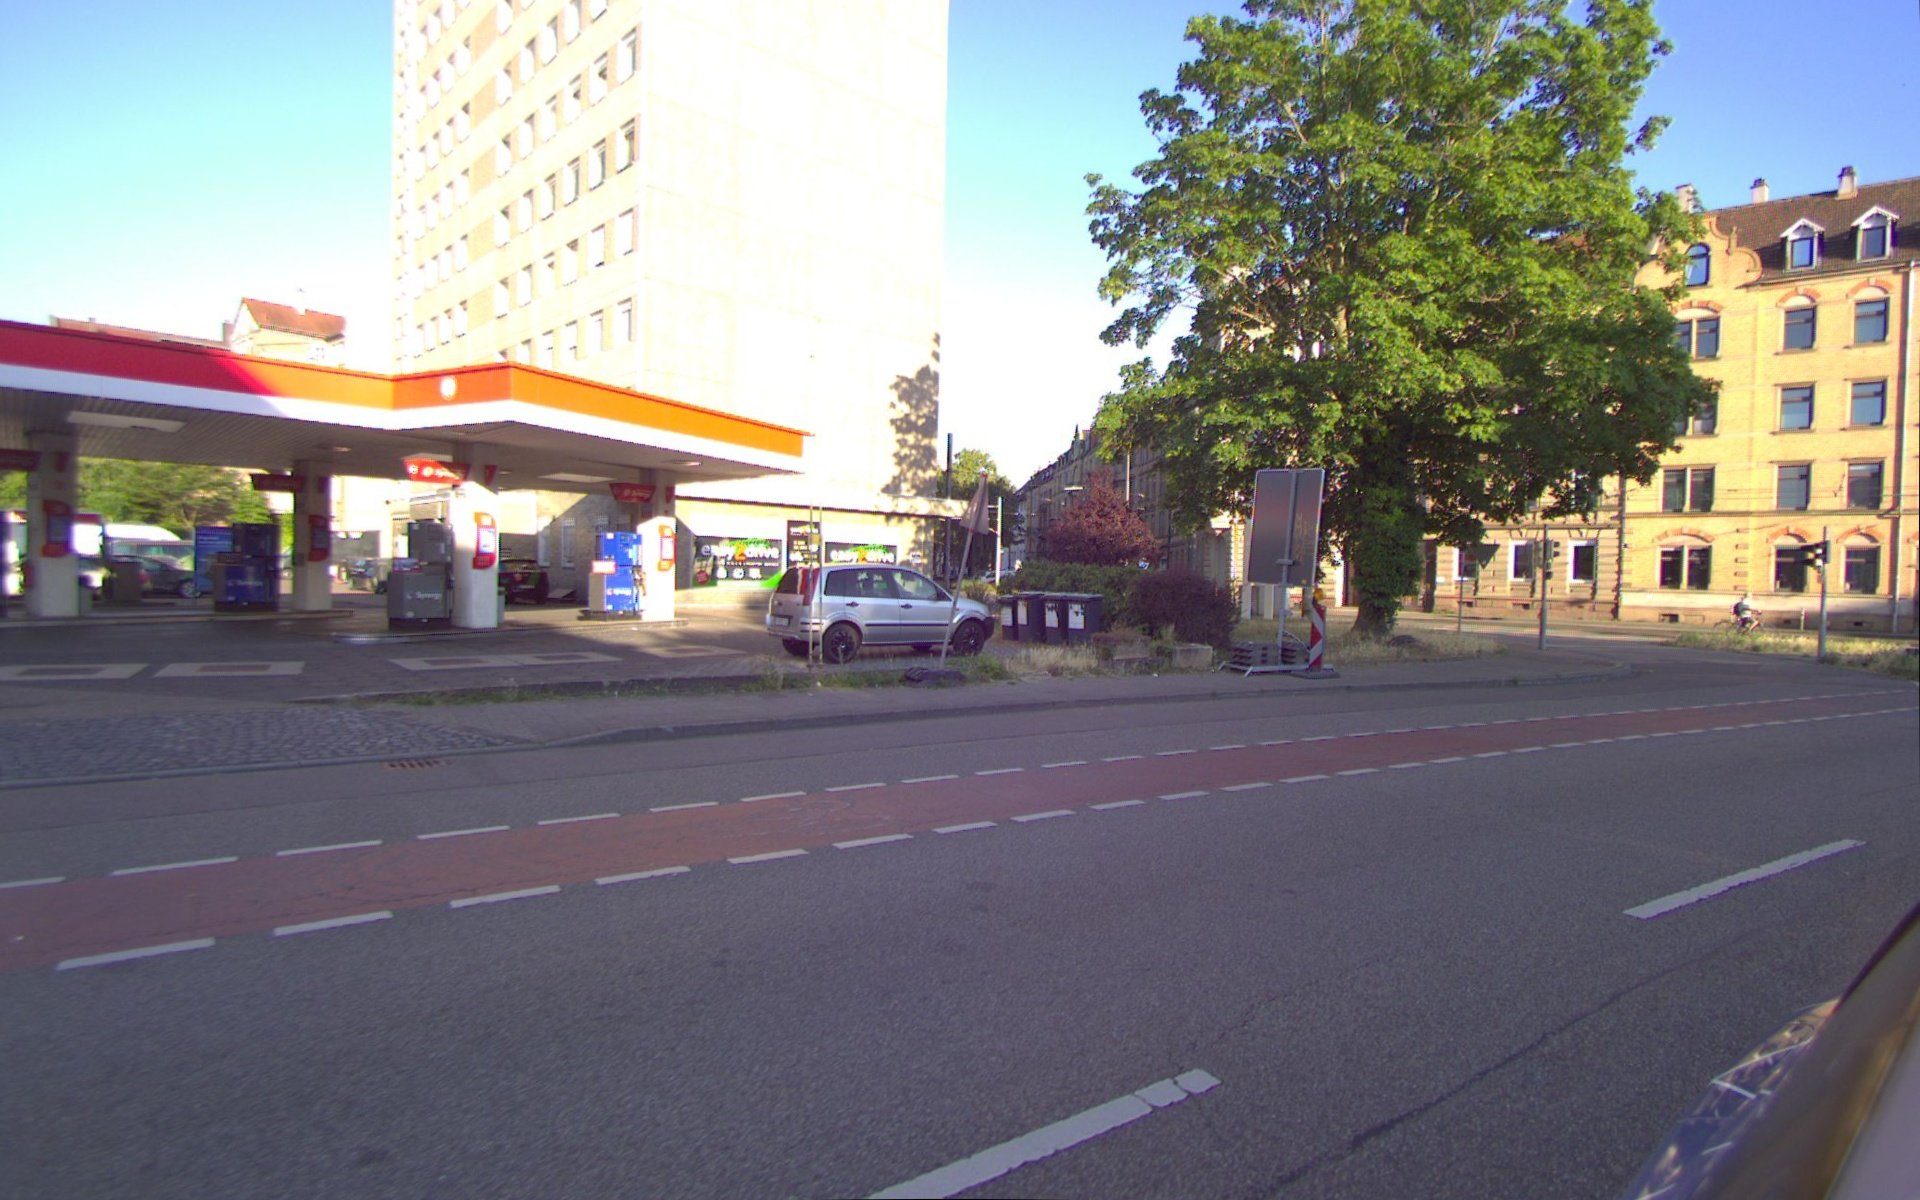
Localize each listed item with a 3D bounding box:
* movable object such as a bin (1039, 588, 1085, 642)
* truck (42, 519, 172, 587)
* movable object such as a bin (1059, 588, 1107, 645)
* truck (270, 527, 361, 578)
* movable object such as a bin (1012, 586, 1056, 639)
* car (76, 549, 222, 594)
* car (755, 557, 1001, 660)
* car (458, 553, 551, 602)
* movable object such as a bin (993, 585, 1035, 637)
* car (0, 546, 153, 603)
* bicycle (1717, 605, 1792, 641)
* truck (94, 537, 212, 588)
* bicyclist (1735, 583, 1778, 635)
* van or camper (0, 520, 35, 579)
[{"bbox_3d":[1.989,0.283,19.707,0.675,1.031,0.544,0,1,-36],"label":"movable object such as a bin"},{"bbox_3d":[-34.496,-1.873,40.961,3.933,2.591,1.996,0,2,-43],"label":"truck"},{"bbox_3d":[2.310,0.304,19.025,0.675,1.031,0.544,0,1,-36],"label":"movable object such as a bin"},{"bbox_3d":[-41.059,-2.979,64.499,4.659,3.106,1.997,0,2,-41],"label":"truck"},{"bbox_3d":[1.493,0.252,20.316,0.675,1.031,0.544,0,1,-36],"label":"movable object such as a bin"},{"bbox_3d":[-28.664,-0.990,35.844,3.930,1.482,1.998,0,2,-41],"label":"car"},{"bbox_3d":[-1.317,0.083,16.793,3.723,1.535,1.691,0,2,-34],"label":"car"},{"bbox_3d":[-15.239,-0.765,33.803,1.740,1.535,3.789,0,2,-42],"label":"car"},{"bbox_3d":[1.114,0.216,20.871,0.675,1.031,0.544,0,1,-36],"label":"movable object such as a bin"},{"bbox_3d":[-24.872,-0.703,27.998,3.930,1.482,1.998,0,2,-41],"label":"car"},{"bbox_3d":[26.448,0.749,33.704,1.920,1.072,0.444,3,2,42],"label":"bicycle"},{"bbox_3d":[-30.817,-1.420,38.682,3.432,1.852,1.779,0,2,-42],"label":"truck"},{"bbox_3d":[26.478,0.289,33.640,1.062,1.669,0.721,2,2,42],"label":"bicyclist"},{"bbox_3d":[-46.310,-2.396,46.602,2.200,2.722,5.264,2,2,41],"label":"van or camper"}]
